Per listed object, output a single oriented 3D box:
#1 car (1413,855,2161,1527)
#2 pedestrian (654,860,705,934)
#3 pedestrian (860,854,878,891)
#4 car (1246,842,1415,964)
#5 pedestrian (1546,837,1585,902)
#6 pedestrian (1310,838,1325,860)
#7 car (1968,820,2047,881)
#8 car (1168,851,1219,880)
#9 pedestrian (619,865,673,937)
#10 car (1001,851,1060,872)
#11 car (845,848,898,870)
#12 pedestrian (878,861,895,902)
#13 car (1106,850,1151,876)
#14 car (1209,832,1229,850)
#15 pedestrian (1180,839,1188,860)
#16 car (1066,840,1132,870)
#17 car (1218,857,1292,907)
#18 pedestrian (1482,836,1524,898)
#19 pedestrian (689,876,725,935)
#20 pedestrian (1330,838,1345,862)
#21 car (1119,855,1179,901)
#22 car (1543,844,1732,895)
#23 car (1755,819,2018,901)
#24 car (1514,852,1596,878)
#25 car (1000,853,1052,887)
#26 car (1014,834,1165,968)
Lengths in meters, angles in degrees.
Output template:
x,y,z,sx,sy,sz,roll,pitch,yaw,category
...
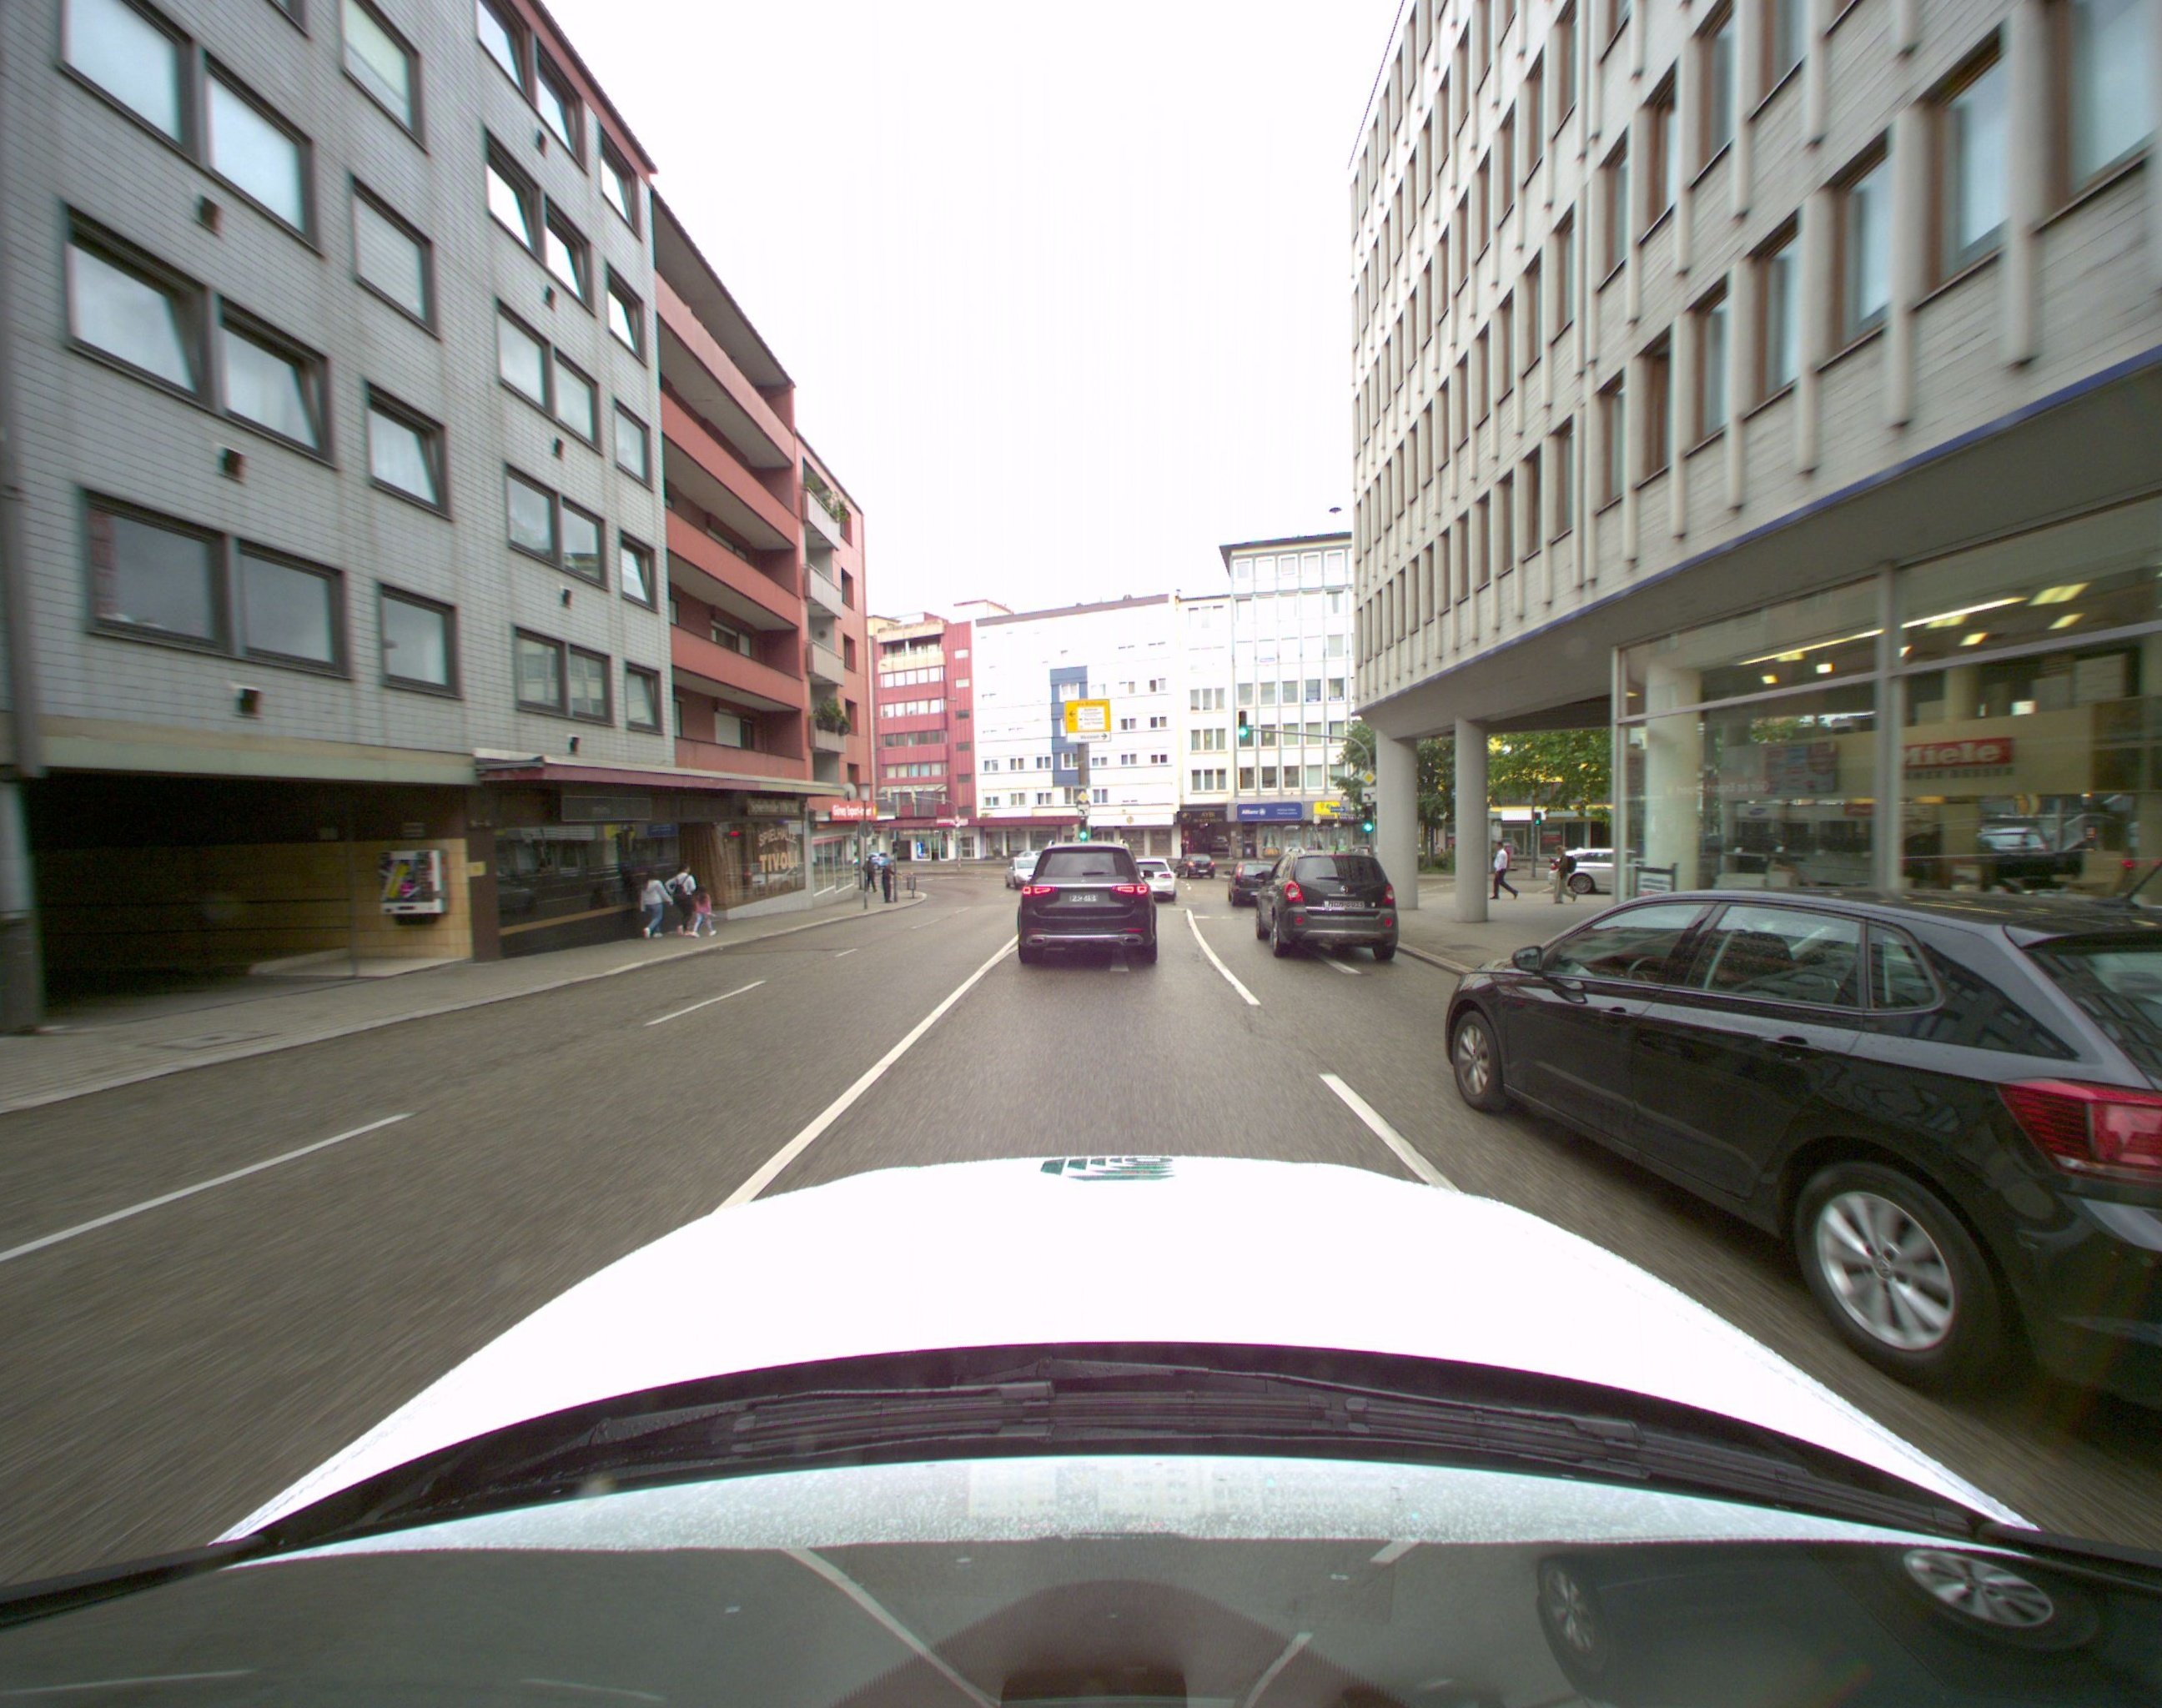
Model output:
x,y,z,sx,sy,sz,roll,pitch,yaw,category
3.199,0.777,3.805,1.682,1.477,4.000,2,0,1,car
-9.409,0.992,19.108,0.826,1.689,0.722,1,-1,-7,pedestrian
-10.789,0.936,41.438,0.764,1.848,0.837,-1,0,-25,pedestrian
4.069,0.713,14.077,1.888,1.695,4.512,2,0,5,car
13.097,0.421,22.028,0.715,1.689,0.834,-4,-1,23,pedestrian
18.545,-0.389,63.806,1.023,1.688,0.833,-1,6,11,pedestrian
30.248,-0.165,26.649,3.959,1.635,1.608,-7,4,-42,car
6.745,0.694,49.279,1.823,1.658,4.480,1,-1,-9,car
-9.783,1.045,18.327,0.826,1.561,0.722,1,-1,-7,pedestrian
-3.917,0.550,62.192,1.942,1.515,4.605,3,-2,-44,car
-18.676,0.446,72.543,4.124,1.838,2.011,2,0,25,car
-8.214,1.139,34.430,0.552,1.697,0.623,-1,0,-1,pedestrian
2.851,0.550,50.138,1.992,1.486,4.226,-2,0,-7,car
13.438,-1.215,78.962,1.785,1.670,4.012,-1,0,11,car
8.561,-0.380,67.606,0.560,1.688,0.758,-1,6,8,pedestrian
1.344,0.058,62.917,2.260,2.228,5.369,1,-1,-36,car
5.571,0.841,26.522,1.759,1.397,4.005,3,0,4,car
12.869,0.391,24.864,0.720,1.818,0.829,-3,-1,-4,pedestrian
-8.703,1.197,18.988,0.532,1.323,0.722,1,-1,-7,pedestrian
19.683,-0.322,62.556,1.023,1.798,0.833,-1,6,11,pedestrian
2.508,0.781,29.082,1.863,1.495,4.410,0,0,8,car
17.836,0.467,26.253,4.791,1.494,1.868,-1,0,43,car
21.297,0.194,21.896,4.744,1.997,1.974,-2,-1,37,car
29.879,0.661,51.438,4.155,1.412,1.838,0,5,17,car
-2.939,0.873,42.880,1.740,1.593,4.150,-3,-1,-17,car
0.151,0.635,13.369,2.032,1.799,4.663,0,0,1,car
